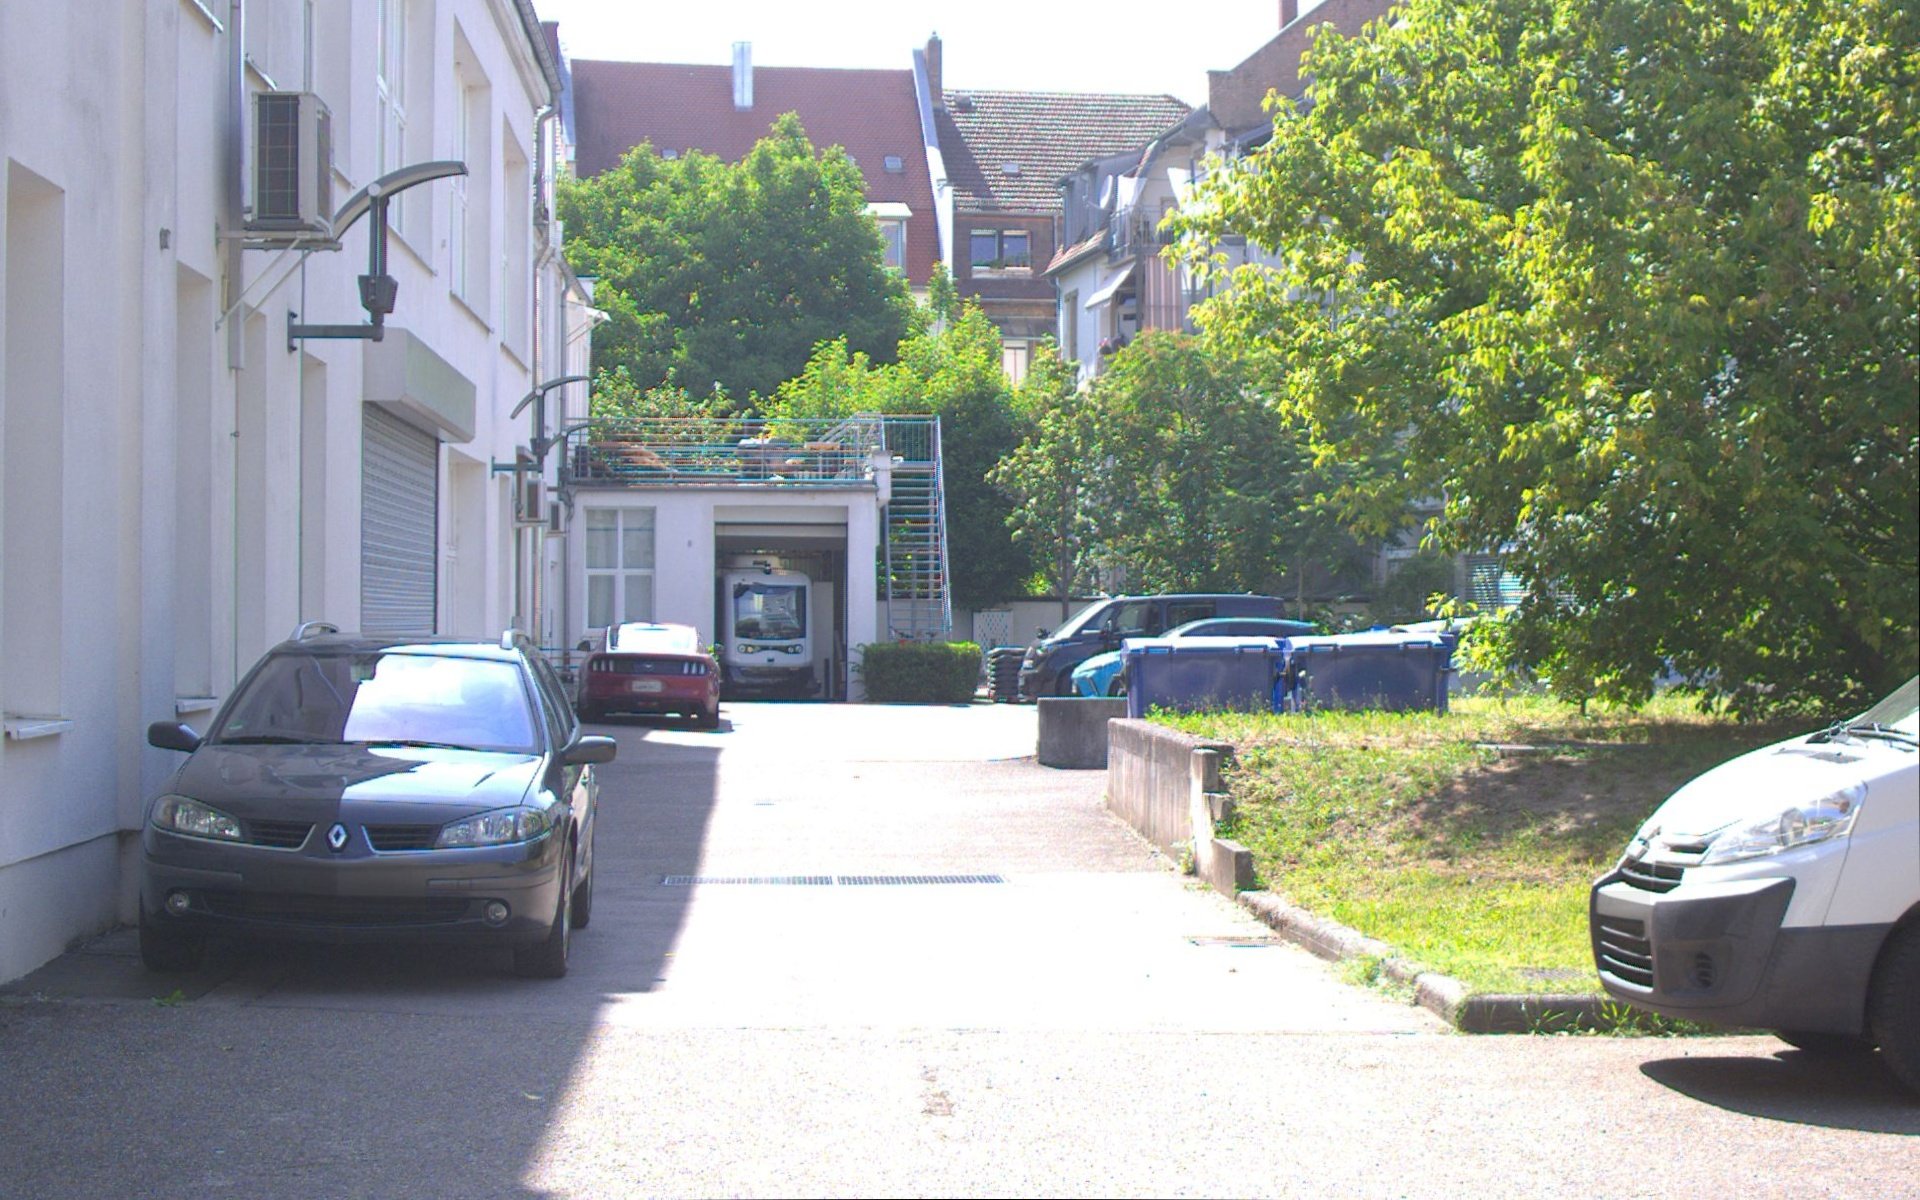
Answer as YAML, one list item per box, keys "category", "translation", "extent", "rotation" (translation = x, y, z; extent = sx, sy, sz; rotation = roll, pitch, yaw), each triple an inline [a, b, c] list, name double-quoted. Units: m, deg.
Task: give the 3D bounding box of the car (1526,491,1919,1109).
- category: "car"
  translation: [4.645, 0.637, 11.800]
  extent: [5.023, 1.926, 2.000]
  rotation: [0, 0, -2]

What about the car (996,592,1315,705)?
- category: "car"
  translation: [3.287, 0.792, 57.998]
  extent: [4.950, 1.761, 2.097]
  rotation: [-1, 1, -15]

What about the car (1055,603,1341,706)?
- category: "car"
  translation: [3.763, 0.850, 54.763]
  extent: [4.228, 1.527, 2.000]
  rotation: [-1, 1, -6]

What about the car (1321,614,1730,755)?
- category: "car"
  translation: [6.026, 0.883, 36.875]
  extent: [3.986, 1.422, 1.812]
  rotation: [0, 0, -6]

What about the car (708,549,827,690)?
- category: "car"
  translation: [-3.754, 0.398, 67.227]
  extent: [2.174, 2.598, 6.735]
  rotation: [-1, -1, -3]

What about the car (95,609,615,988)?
- category: "car"
  translation: [-2.588, 0.846, 15.697]
  extent: [1.836, 1.437, 4.430]
  rotation: [2, -2, -4]

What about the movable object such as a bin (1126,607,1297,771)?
- category: "movable object such as a bin"
  translation: [2.105, 0.733, 28.976]
  extent: [1.247, 1.351, 1.129]
  rotation: [0, 0, -6]

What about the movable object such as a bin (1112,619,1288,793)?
- category: "movable object such as a bin"
  translation: [1.894, 0.838, 27.283]
  extent: [1.247, 1.315, 1.142]
  rotation: [-2, -2, -1]

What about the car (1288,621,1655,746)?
- category: "car"
  translation: [5.954, 0.966, 40.271]
  extent: [3.986, 1.389, 1.689]
  rotation: [0, 0, -3]

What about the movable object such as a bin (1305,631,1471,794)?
- category: "movable object such as a bin"
  translation: [3.608, 0.936, 29.083]
  extent: [1.155, 1.332, 1.142]
  rotation: [0, 0, -6]

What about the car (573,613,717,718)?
- category: "car"
  translation: [-4.294, 0.873, 47.345]
  extent: [1.851, 1.315, 4.000]
  rotation: [2, 0, -4]

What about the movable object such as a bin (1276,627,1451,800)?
- category: "movable object such as a bin"
  translation: [3.202, 0.888, 27.396]
  extent: [1.247, 1.336, 1.142]
  rotation: [0, 0, 0]
